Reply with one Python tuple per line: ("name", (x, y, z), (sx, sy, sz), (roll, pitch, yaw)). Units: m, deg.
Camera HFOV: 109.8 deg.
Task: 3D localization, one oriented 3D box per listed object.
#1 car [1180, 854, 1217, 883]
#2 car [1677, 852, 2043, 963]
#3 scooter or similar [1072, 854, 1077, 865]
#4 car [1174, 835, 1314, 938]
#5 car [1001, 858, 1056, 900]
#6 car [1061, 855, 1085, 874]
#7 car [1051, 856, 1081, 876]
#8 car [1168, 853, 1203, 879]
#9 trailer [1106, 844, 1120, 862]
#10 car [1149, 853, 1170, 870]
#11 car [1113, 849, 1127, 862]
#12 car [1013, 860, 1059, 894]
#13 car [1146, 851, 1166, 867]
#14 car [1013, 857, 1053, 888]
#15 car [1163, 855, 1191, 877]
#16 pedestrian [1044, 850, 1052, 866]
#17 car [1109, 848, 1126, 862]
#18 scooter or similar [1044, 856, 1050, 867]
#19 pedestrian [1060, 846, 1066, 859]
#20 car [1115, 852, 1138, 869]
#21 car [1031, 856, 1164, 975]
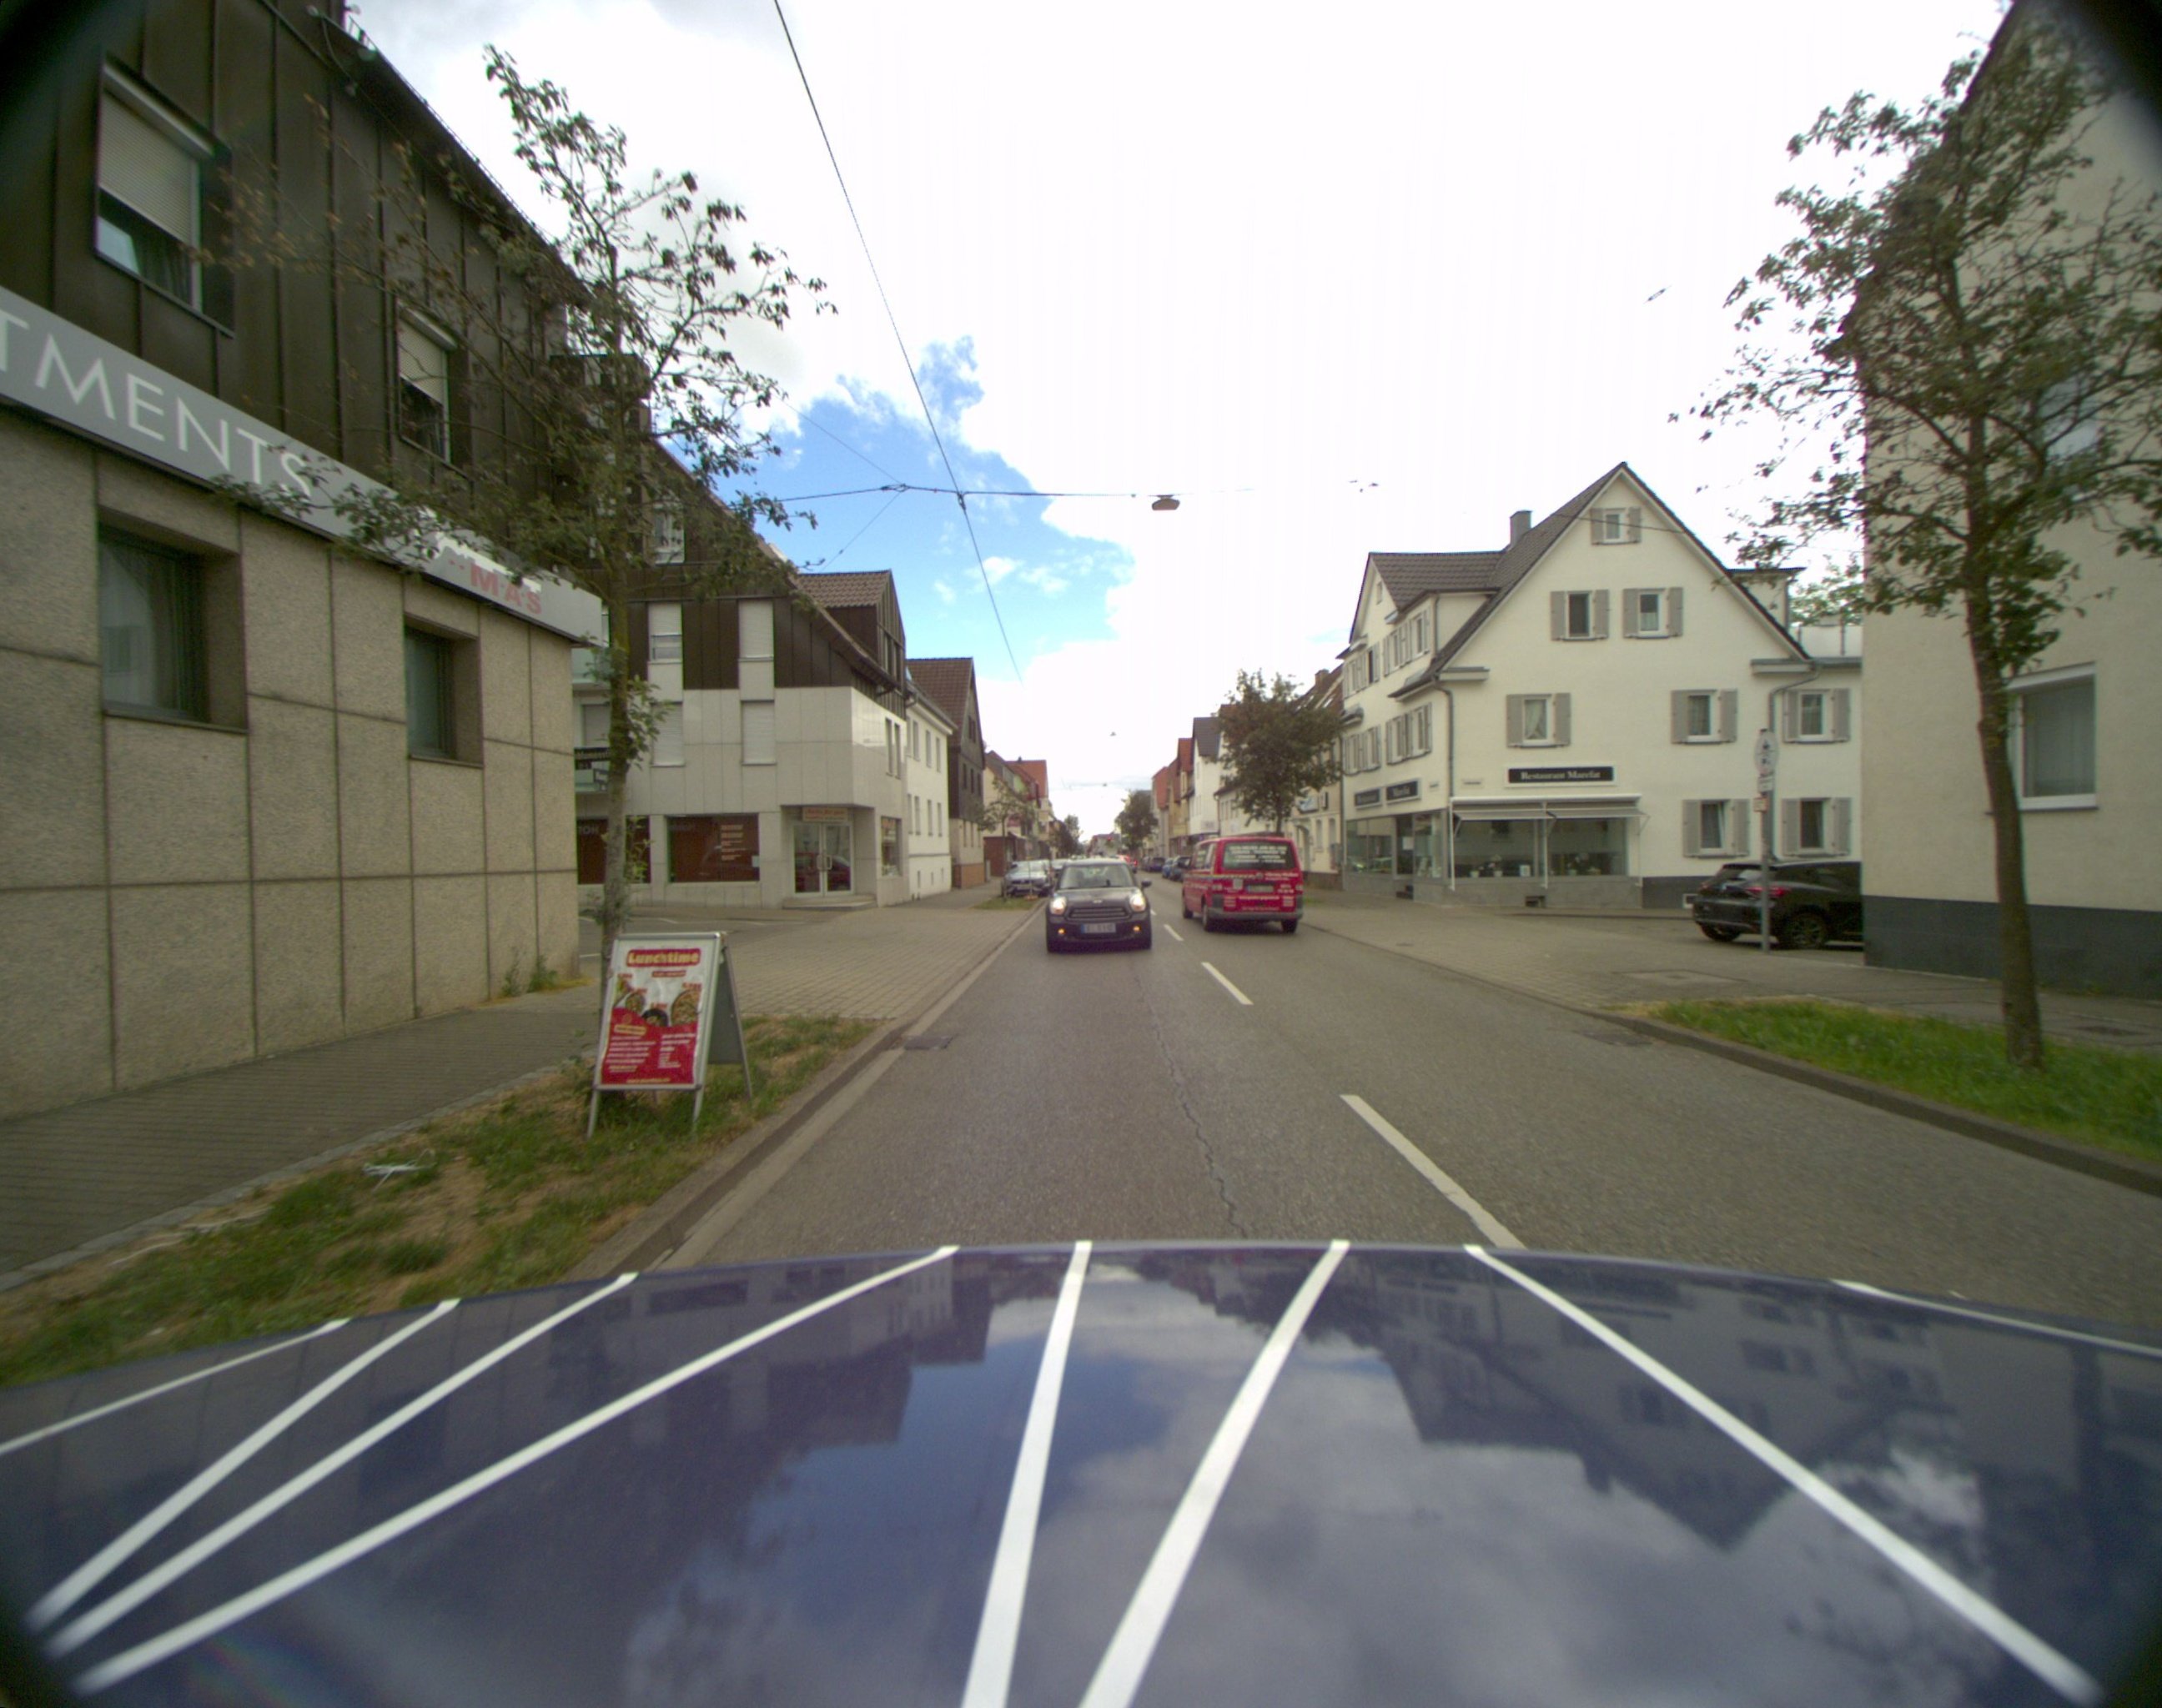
("car", (6.679, 0.803, 43.424), (1.585, 1.499, 3.812), (1, 1, 2))
("car", (12.050, 0.783, 11.943), (3.998, 1.526, 1.734), (1, 1, -2))
("scooter or similar", (-0.749, 0.645, 91.305), (0.503, 1.228, 1.942), (-2, 1, 1))
("car", (3.438, 0.599, 17.132), (1.953, 1.950, 5.221), (1, 1, -1))
("car", (-2.141, 1.009, 32.255), (1.880, 1.530, 4.512), (-2, 1, 1))
("car", (-0.668, 0.902, 67.054), (1.835, 1.437, 4.332), (-3, 0, 2))
("car", (-1.174, 0.912, 61.338), (1.835, 1.437, 4.111), (-3, 1, 6))
("car", (6.650, 0.729, 48.656), (1.807, 1.590, 4.304), (0, 1, 2))
("trailer", (6.072, -0.266, 142.998), (2.509, 3.201, 7.134), (-2, 1, 3))
("car", (7.274, 0.682, 70.434), (1.686, 1.484, 3.591), (0, 1, 2))
("car", (5.450, 0.155, 107.229), (1.905, 1.727, 4.366), (0, 1, 2))
("car", (-2.148, 1.097, 37.532), (1.759, 1.437, 4.455), (-3, 0, 3))
("car", (7.495, 0.469, 75.873), (1.714, 1.557, 4.113), (0, 1, 2))
("car", (-2.656, 1.008, 42.780), (1.835, 1.489, 3.993), (-3, 1, 2))
("car", (6.842, 0.801, 54.388), (1.686, 1.490, 3.775), (0, 1, 2))
("pedestrian", (-3.722, 0.455, 86.182), (0.752, 1.710, 0.900), (-2, 1, 1))
("car", (4.170, 0.139, 86.245), (1.799, 1.569, 4.192), (0, 0, 1))
("scooter or similar", (-3.781, 0.874, 85.275), (0.591, 1.225, 0.891), (-2, 1, 0))
("pedestrian", (-2.927, -0.228, 123.390), (0.826, 2.063, 1.011), (2, 1, 3))
("car", (4.085, 0.547, 68.783), (1.687, 1.439, 4.019), (0, 1, -1))
("car", (0.271, 0.904, 13.288), (1.847, 1.571, 4.429), (-4, 1, 1))
